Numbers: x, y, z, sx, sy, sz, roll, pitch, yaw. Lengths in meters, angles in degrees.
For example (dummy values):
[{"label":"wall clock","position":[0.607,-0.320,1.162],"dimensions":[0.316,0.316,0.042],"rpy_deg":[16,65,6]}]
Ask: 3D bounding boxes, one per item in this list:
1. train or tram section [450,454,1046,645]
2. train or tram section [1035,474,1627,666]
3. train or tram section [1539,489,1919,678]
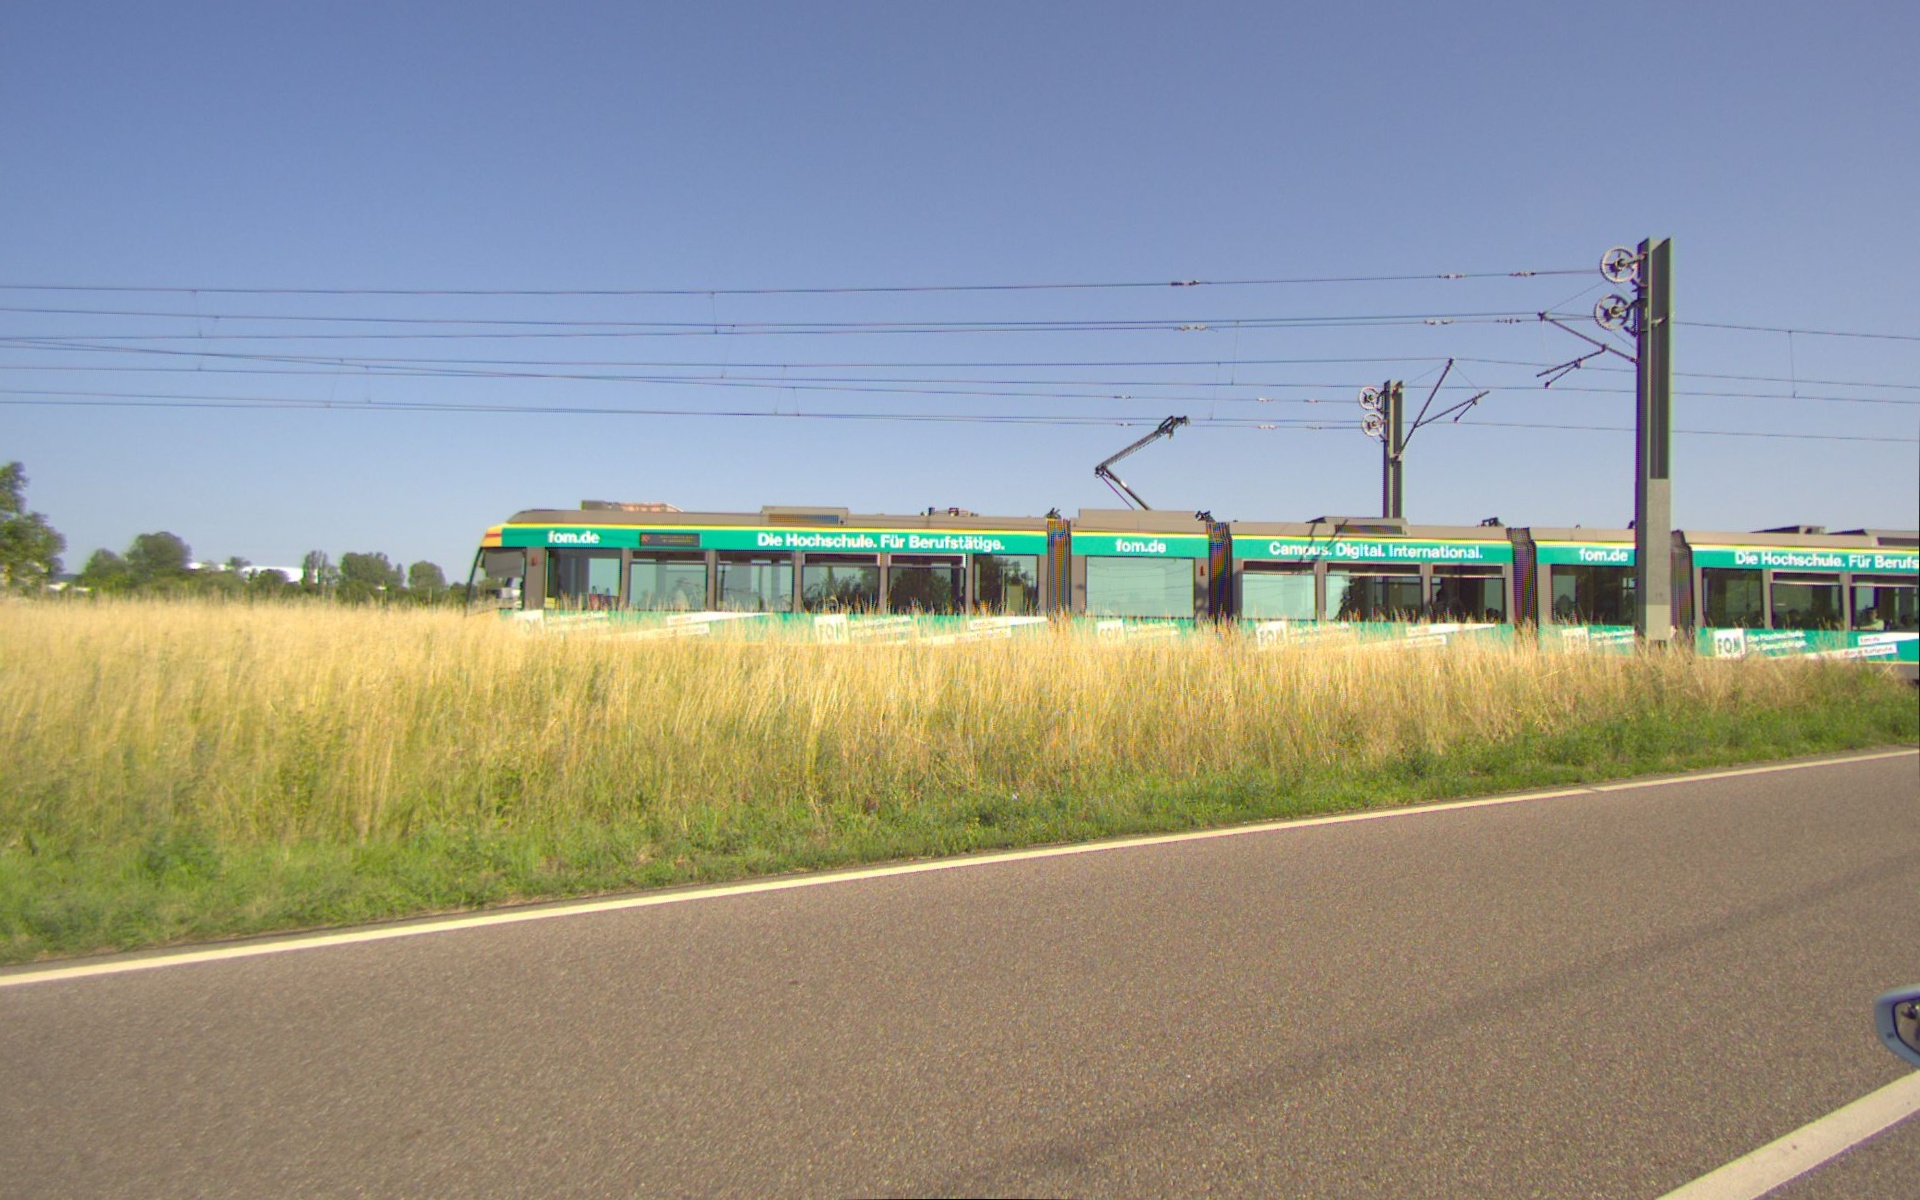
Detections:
[{"label":"train or tram section","position":[-4.267,-1.005,21.803],"dimensions":[11.927,3.531,2.959],"rpy_deg":[2,0,-1]},{"label":"train or tram section","position":[7.787,-0.590,22.122],"dimensions":[11.928,3.500,2.926],"rpy_deg":[2,0,-2]},{"label":"train or tram section","position":[20.797,-0.116,22.648],"dimensions":[13.986,3.615,2.915],"rpy_deg":[3,0,-3]}]
